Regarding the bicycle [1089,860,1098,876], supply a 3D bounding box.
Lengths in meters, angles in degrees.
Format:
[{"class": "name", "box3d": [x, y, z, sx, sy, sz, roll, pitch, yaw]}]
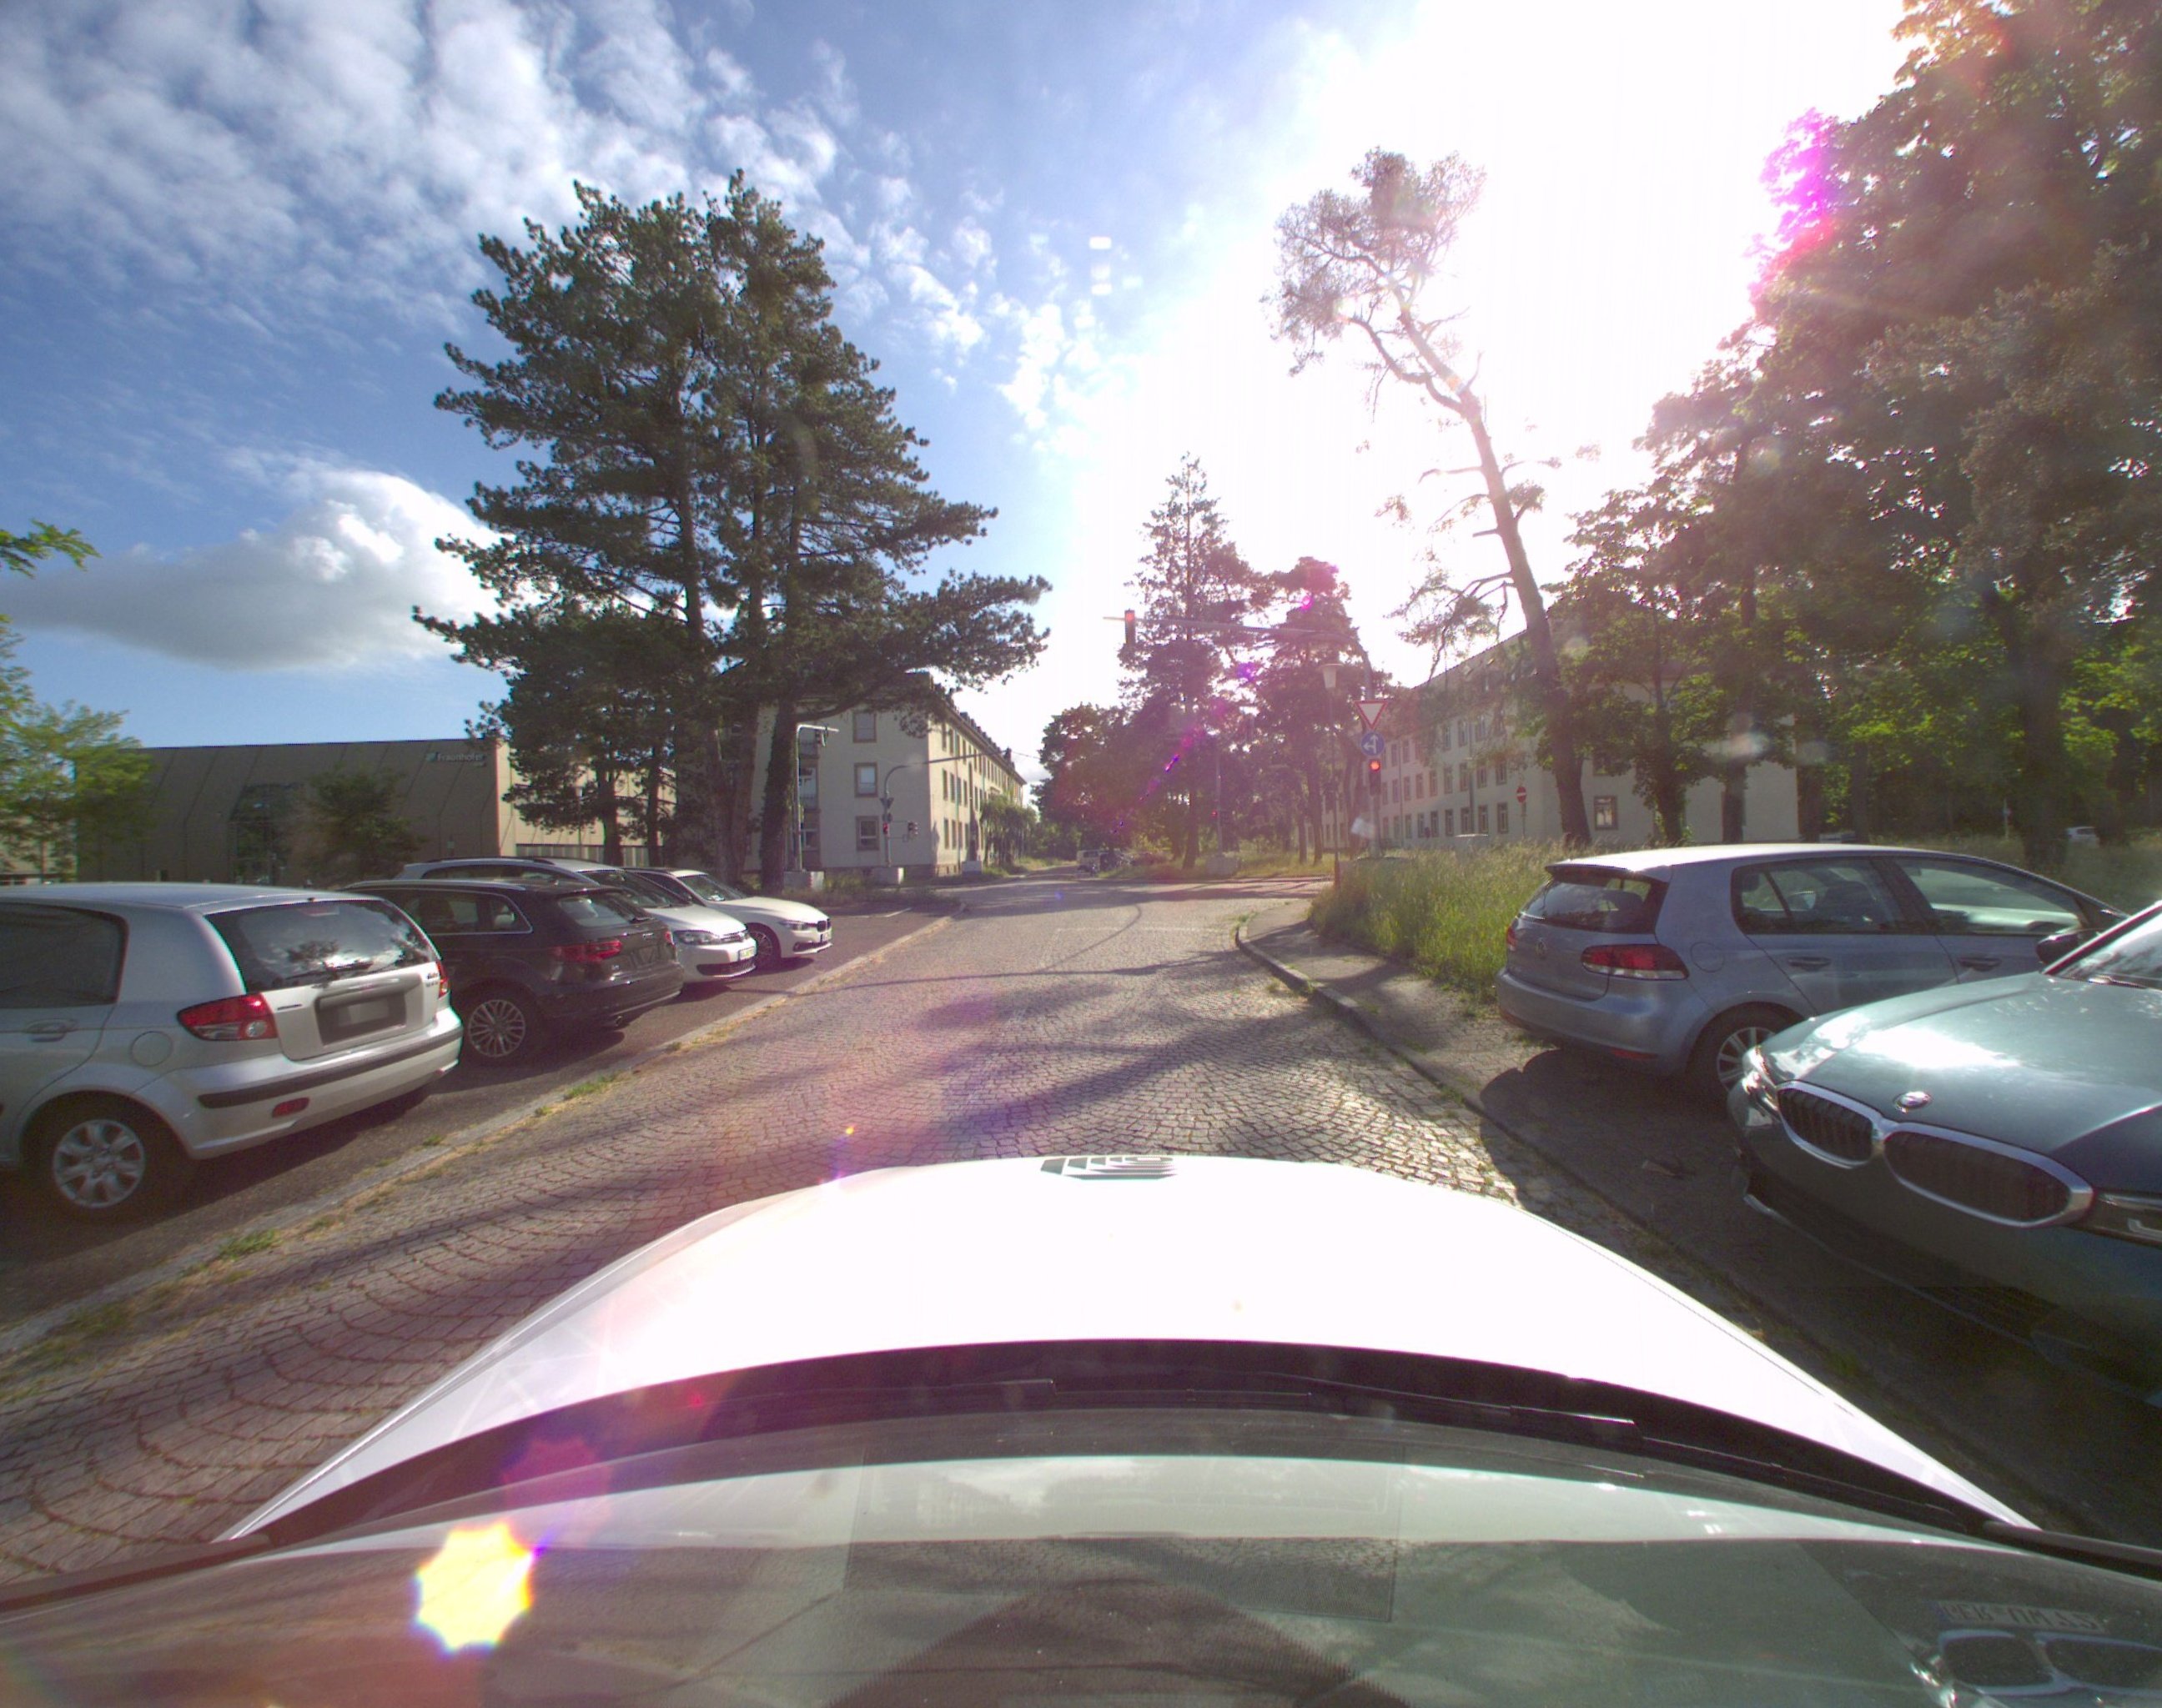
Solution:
[{"class": "bicycle", "box3d": [0.774, 0.867, 50.569, 0.466, 1.010, 1.584, 0, -1, -2]}]

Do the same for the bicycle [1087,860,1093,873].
[{"class": "bicycle", "box3d": [0.688, 0.940, 63.800, 0.416, 1.010, 1.484, 0, -1, 2]}]

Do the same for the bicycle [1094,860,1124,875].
[{"class": "bicycle", "box3d": [1.950, 0.919, 56.728, 2.026, 1.010, 0.626, 0, -1, -7]}]

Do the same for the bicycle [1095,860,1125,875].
[{"class": "bicycle", "box3d": [2.007, 0.911, 55.845, 2.002, 1.010, 0.630, 0, -1, -7]}]

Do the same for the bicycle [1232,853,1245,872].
[{"class": "bicycle", "box3d": [8.135, 0.458, 41.976, 0.300, 0.961, 1.584, 0, -1, -2]}]

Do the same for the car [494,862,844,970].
[{"class": "car", "box3d": [-6.015, 0.886, 12.322, 4.322, 1.468, 1.829, 0, 0, -2]}]

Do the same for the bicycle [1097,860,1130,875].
[{"class": "bicycle", "box3d": [2.140, 0.896, 54.130, 2.107, 1.010, 0.619, 0, -1, -7]}]

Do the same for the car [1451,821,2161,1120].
[{"class": "car", "box3d": [4.679, 0.612, 5.180, 3.868, 1.415, 1.637, -3, 0, 1]}]

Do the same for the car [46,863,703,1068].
[{"class": "car", "box3d": [-5.679, 0.845, 7.005, 3.977, 1.480, 1.802, 0, 0, -2]}]

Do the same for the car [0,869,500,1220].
[{"class": "car", "box3d": [-5.608, 0.852, 4.363, 3.737, 1.487, 1.644, 0, 0, -2]}]

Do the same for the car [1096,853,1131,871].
[{"class": "car", "box3d": [2.746, 0.689, 68.604, 2.776, 1.467, 1.669, 0, -1, -4]}]

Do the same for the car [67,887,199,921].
[{"class": "car", "box3d": [-47.650, 2.493, 41.062, 1.895, 1.433, 4.001, -2, -1, 2]}]

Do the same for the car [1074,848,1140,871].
[{"class": "car", "box3d": [2.311, 0.505, 72.213, 5.535, 2.014, 1.988, 1, -1, -17]}]

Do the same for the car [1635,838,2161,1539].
[{"class": "car", "box3d": [4.589, 0.640, 2.541, 4.543, 1.415, 1.637, -3, 0, 1]}]

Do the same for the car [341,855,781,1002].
[{"class": "car", "box3d": [-6.051, 0.827, 9.913, 4.070, 1.593, 1.884, 0, 0, -2]}]
